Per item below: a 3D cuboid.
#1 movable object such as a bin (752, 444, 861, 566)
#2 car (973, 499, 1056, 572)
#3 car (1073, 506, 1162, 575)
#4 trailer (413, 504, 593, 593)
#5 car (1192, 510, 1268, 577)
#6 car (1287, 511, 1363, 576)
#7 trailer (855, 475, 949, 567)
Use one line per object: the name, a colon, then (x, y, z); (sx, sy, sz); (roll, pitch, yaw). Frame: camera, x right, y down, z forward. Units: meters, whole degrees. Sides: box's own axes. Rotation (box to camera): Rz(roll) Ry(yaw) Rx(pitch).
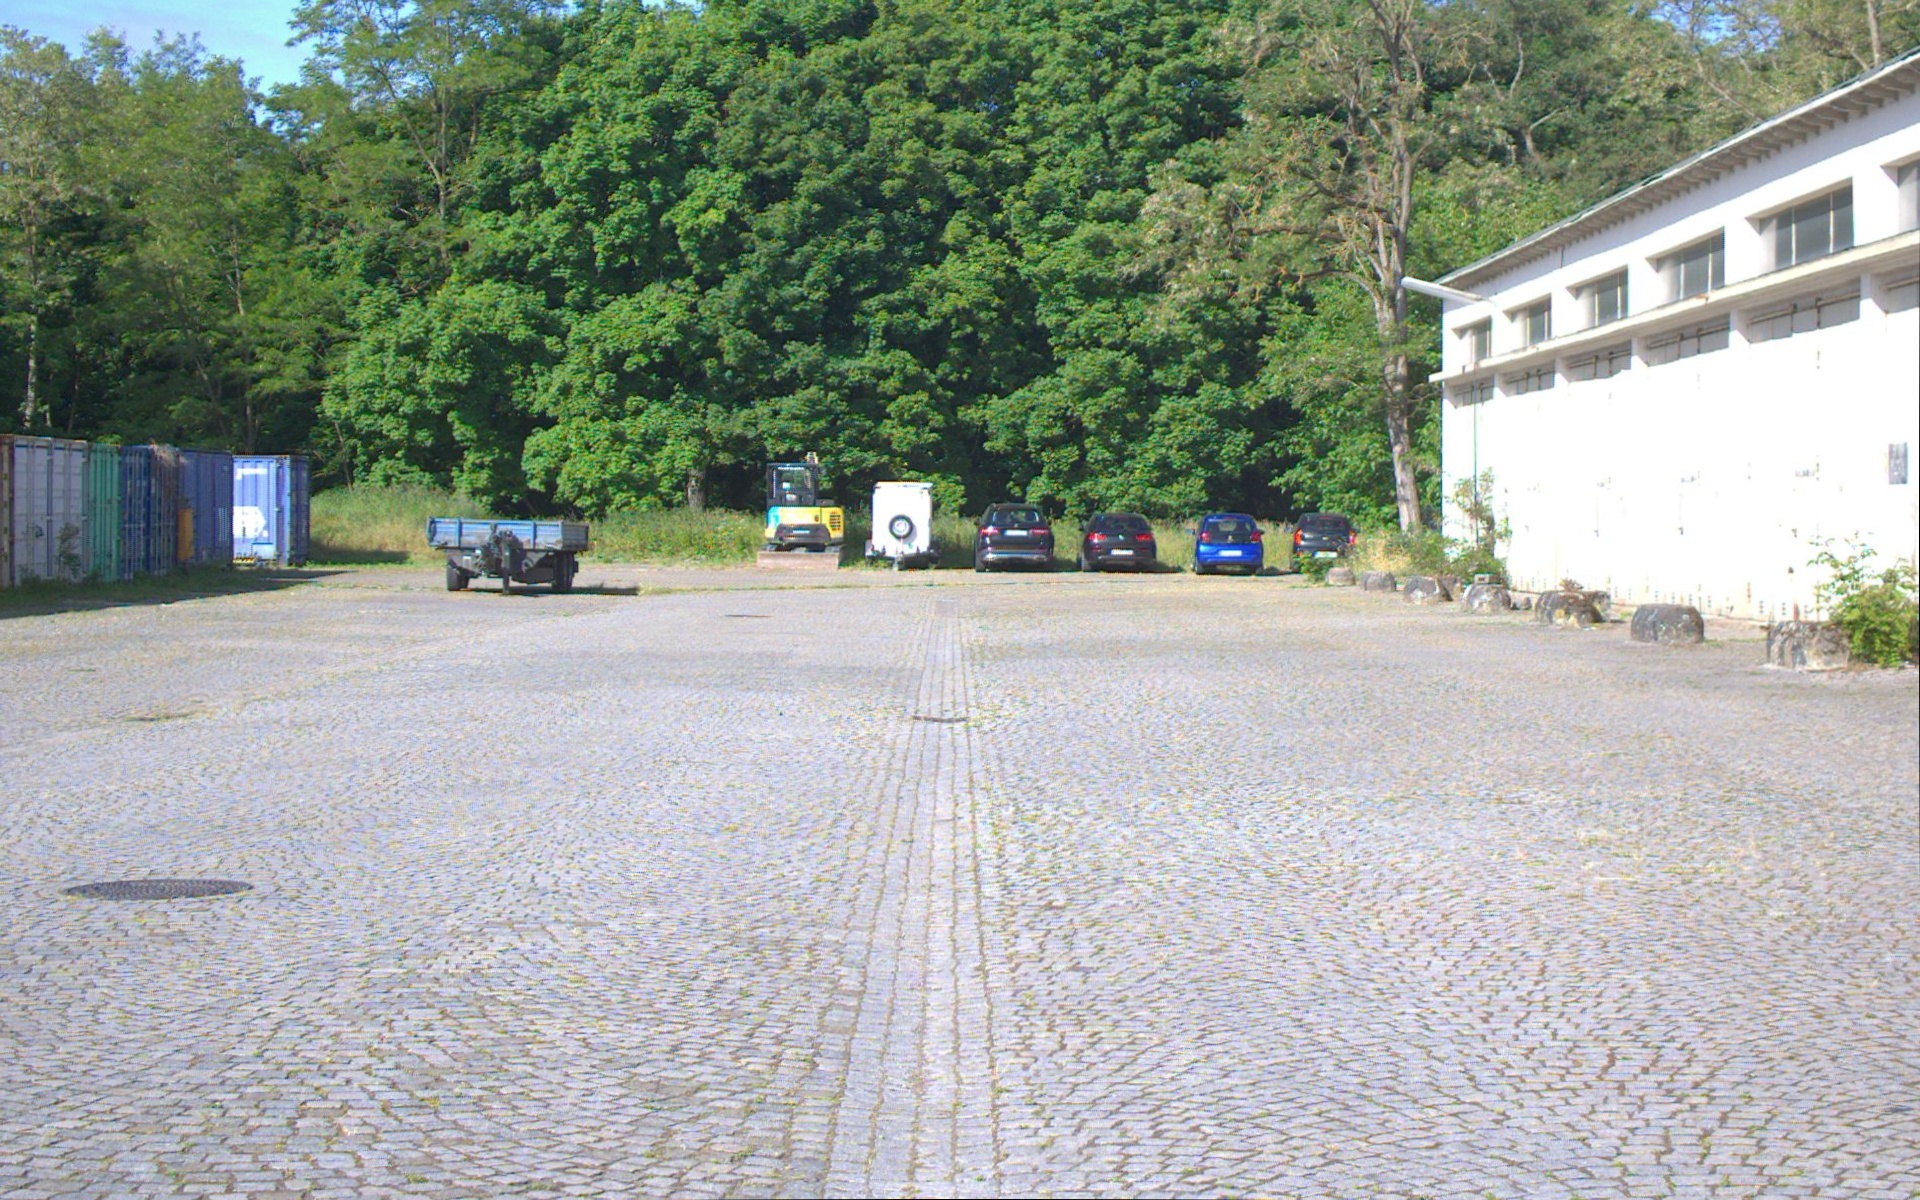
movable object such as a bin: (-3.792, -2.423, 85.798); (2.306, 2.886, 5.752); (2, 3, 1)
car: (1.294, -1.568, 82.819); (1.863, 1.583, 4.296); (2, 3, 0)
car: (3.782, -1.460, 83.177); (1.863, 1.465, 4.296); (2, 3, 0)
trailer: (-8.584, -1.022, 65.164); (2.705, 1.460, 6.248); (2, 2, -2)
car: (6.550, -1.385, 83.104); (1.744, 1.431, 4.183); (2, 3, 5)
car: (8.999, -1.401, 84.500); (1.744, 1.431, 4.182); (2, 3, 7)
trailer: (-1.414, -1.992, 85.203); (2.193, 2.087, 5.752); (2, 3, 0)
